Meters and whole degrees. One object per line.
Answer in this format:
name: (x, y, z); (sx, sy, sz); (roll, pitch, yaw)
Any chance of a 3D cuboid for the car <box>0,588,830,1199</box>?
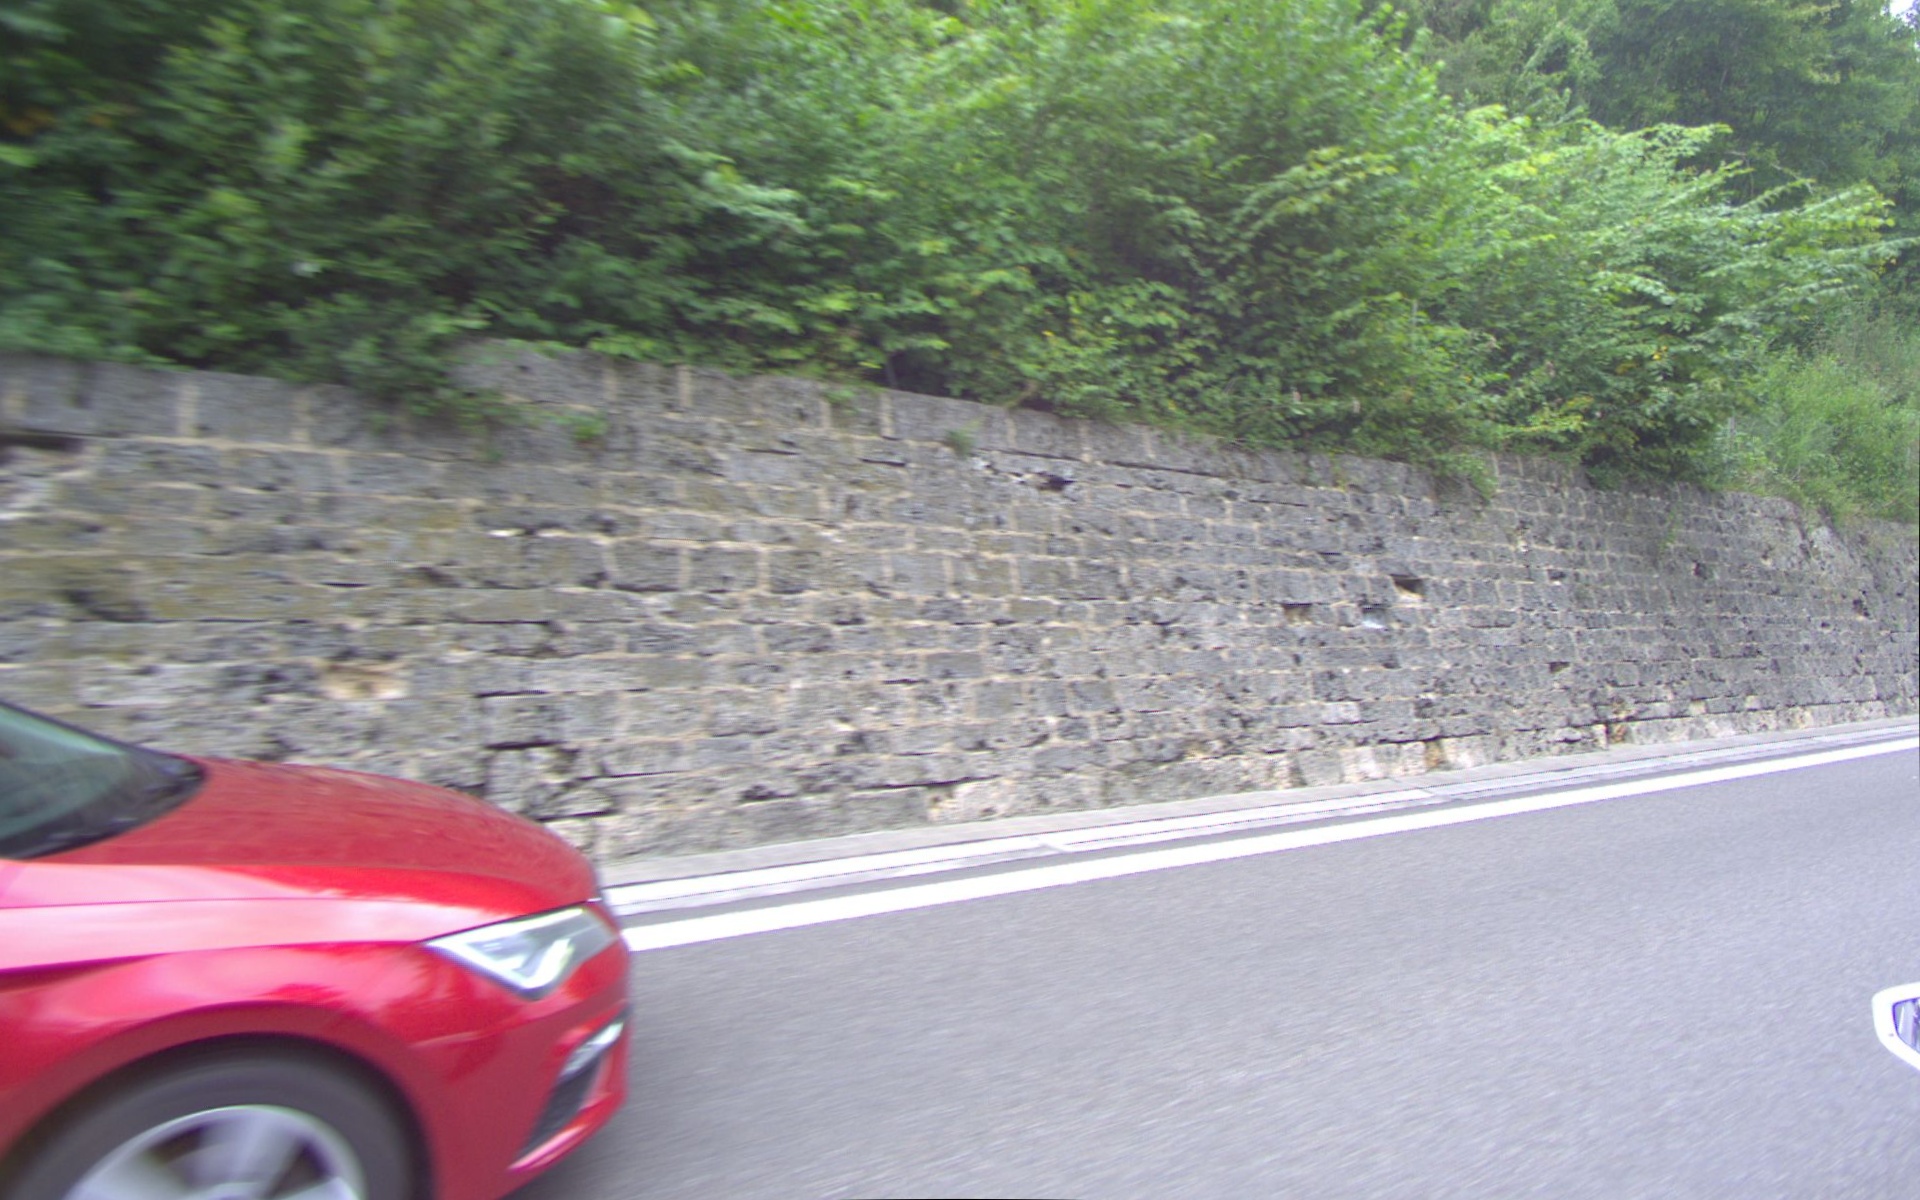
car: (-2.623, 0.708, 1.958); (4.358, 1.479, 1.758); (2, 0, -30)
